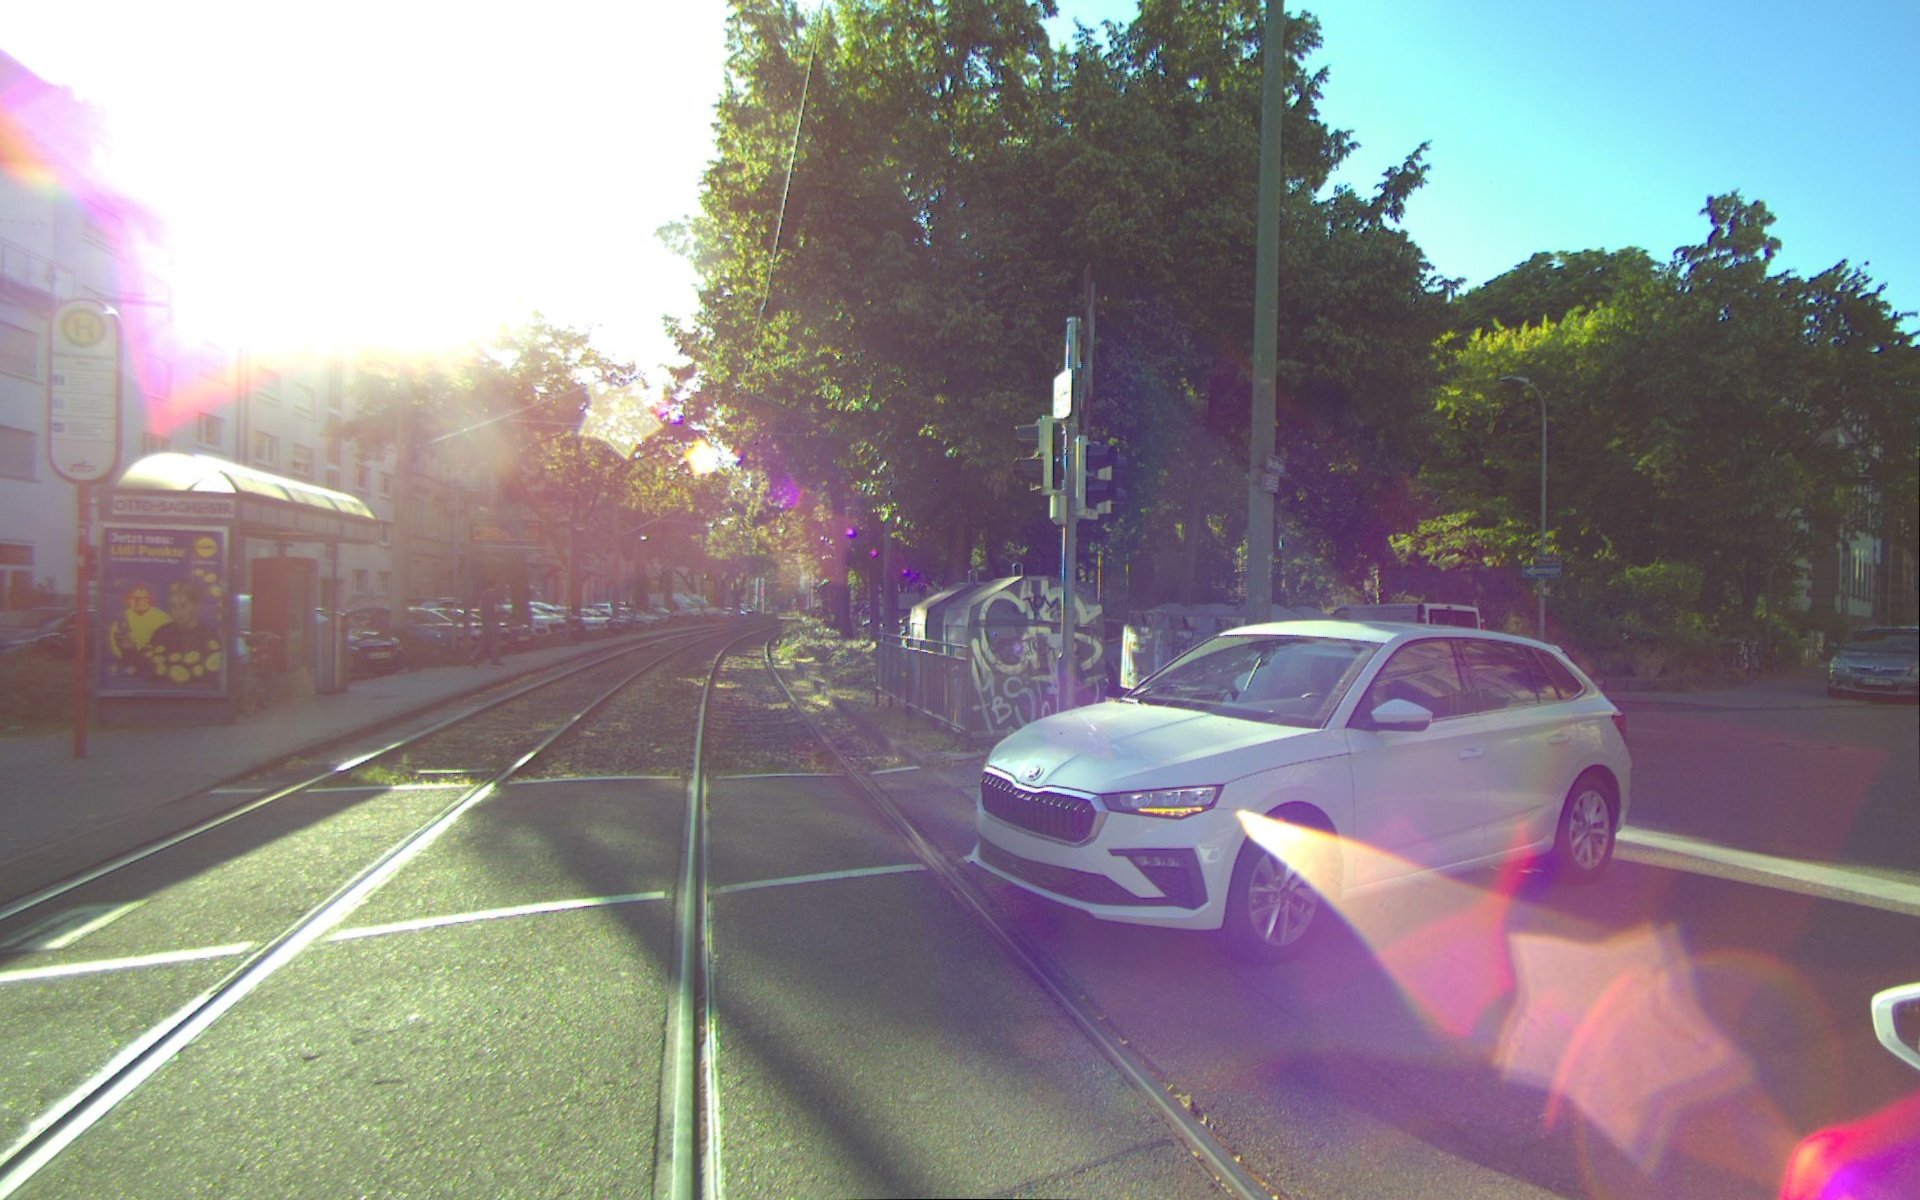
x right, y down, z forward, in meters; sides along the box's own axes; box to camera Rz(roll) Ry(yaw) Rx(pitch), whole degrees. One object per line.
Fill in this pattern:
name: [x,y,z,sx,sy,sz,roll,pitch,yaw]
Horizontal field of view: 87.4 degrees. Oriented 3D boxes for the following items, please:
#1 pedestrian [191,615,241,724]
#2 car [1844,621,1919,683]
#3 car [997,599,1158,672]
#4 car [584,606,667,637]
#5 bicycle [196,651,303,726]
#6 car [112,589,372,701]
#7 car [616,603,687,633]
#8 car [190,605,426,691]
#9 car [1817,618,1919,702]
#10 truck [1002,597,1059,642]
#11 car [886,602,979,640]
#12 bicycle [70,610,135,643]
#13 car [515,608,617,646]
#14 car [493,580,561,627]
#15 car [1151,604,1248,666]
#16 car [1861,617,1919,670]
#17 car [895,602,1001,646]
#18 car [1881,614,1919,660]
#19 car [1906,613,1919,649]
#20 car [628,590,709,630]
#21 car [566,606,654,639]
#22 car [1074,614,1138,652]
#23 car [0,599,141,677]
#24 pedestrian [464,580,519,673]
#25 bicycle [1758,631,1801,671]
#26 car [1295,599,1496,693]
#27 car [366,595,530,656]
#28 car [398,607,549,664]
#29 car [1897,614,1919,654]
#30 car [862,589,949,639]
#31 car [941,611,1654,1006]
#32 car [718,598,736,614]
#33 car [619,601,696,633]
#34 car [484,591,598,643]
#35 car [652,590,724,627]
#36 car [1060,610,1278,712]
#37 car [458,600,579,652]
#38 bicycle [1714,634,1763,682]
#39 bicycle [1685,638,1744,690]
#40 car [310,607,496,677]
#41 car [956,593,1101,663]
pedestrian: [-9.232,0.853,12.476,0.332,1.319,0.451,0,0,-11]
car: [26.008,1.394,27.844,3.903,1.466,1.809,1,3,-43]
car: [2.827,0.814,23.882,3.546,1.466,1.608,3,0,14]
car: [-19.182,1.225,57.632,4.158,1.492,1.857,-3,0,20]
bicycle: [-8.856,1.081,12.587,0.442,0.794,1.640,0,0,-10]
car: [-12.413,0.785,17.358,4.160,1.675,1.607,-3,0,22]
car: [-20.428,1.169,66.512,4.158,1.721,1.857,-3,0,20]
car: [-13.267,0.966,20.480,4.122,1.456,1.701,-3,0,16]
car: [21.341,1.309,23.193,4.260,1.636,1.809,1,3,-43]
truck: [3.895,1.066,56.209,2.331,2.384,4.377,0,0,-8]
car: [-1.184,0.938,44.361,3.752,1.440,1.739,3,-1,11]
bicycle: [-27.993,0.841,32.843,0.523,1.016,2.173,1,0,-8]
car: [-18.171,1.244,46.345,4.158,1.492,1.857,-3,0,20]
car: [-28.220,0.207,65.679,2.513,2.926,5.475,-1,0,-6]
car: [7.902,1.105,33.488,1.550,1.929,3.891,0,0,-14]
car: [29.963,1.346,31.715,3.903,1.498,1.809,1,3,-43]
car: [-0.433,0.926,38.444,3.752,1.409,1.739,3,-1,11]
car: [34.480,1.328,35.989,3.903,1.520,1.809,1,3,-43]
car: [42.990,1.380,44.097,3.903,1.520,1.809,1,3,-43]
car: [-21.062,0.713,72.664,5.166,2.606,2.273,-3,0,20]
car: [-18.984,1.217,54.504,4.158,1.492,1.857,-3,0,20]
car: [6.193,1.380,42.984,1.549,1.487,3.592,0,0,-12]
car: [-21.827,0.841,24.066,1.686,1.695,3.992,-1,0,-11]
pedestrian: [-10.018,0.560,21.509,0.835,1.936,0.837,0,0,-6]
bicycle: [24.609,1.503,30.154,2.607,1.116,0.591,1,0,-42]
car: [10.335,1.015,24.296,1.919,2.030,4.642,0,0,-17]
car: [-14.769,0.734,28.996,4.157,1.478,1.608,-3,0,16]
car: [-15.231,1.107,31.484,4.157,1.478,1.608,-3,0,16]
car: [39.337,1.407,40.579,3.903,1.520,1.809,1,3,-43]
car: [-3.077,0.799,56.530,4.413,2.508,1.819,3,-1,22]
car: [2.031,0.813,5.641,4.019,1.476,1.692,0,0,-33]
car: [-37.763,0.964,162.682,1.682,2.596,5.566,-1,0,0]
car: [-18.535,1.029,61.630,4.158,1.721,1.857,-3,0,20]
car: [-16.635,0.681,39.869,4.164,1.772,1.855,-3,0,28]
car: [-21.999,0.669,81.242,5.166,2.606,2.273,-3,0,20]
car: [3.804,1.053,18.321,3.660,1.541,1.608,3,1,14]
car: [-16.431,0.958,37.395,4.164,1.673,1.855,-3,0,28]
bicycle: [19.931,1.457,25.682,2.609,1.116,0.591,1,0,-43]
bicycle: [17.938,1.485,23.862,2.607,1.116,0.591,1,0,-41]
car: [-14.243,1.070,25.718,4.157,1.528,1.608,-3,0,16]
car: [1.837,0.712,26.725,3.546,1.583,1.608,3,1,15]
